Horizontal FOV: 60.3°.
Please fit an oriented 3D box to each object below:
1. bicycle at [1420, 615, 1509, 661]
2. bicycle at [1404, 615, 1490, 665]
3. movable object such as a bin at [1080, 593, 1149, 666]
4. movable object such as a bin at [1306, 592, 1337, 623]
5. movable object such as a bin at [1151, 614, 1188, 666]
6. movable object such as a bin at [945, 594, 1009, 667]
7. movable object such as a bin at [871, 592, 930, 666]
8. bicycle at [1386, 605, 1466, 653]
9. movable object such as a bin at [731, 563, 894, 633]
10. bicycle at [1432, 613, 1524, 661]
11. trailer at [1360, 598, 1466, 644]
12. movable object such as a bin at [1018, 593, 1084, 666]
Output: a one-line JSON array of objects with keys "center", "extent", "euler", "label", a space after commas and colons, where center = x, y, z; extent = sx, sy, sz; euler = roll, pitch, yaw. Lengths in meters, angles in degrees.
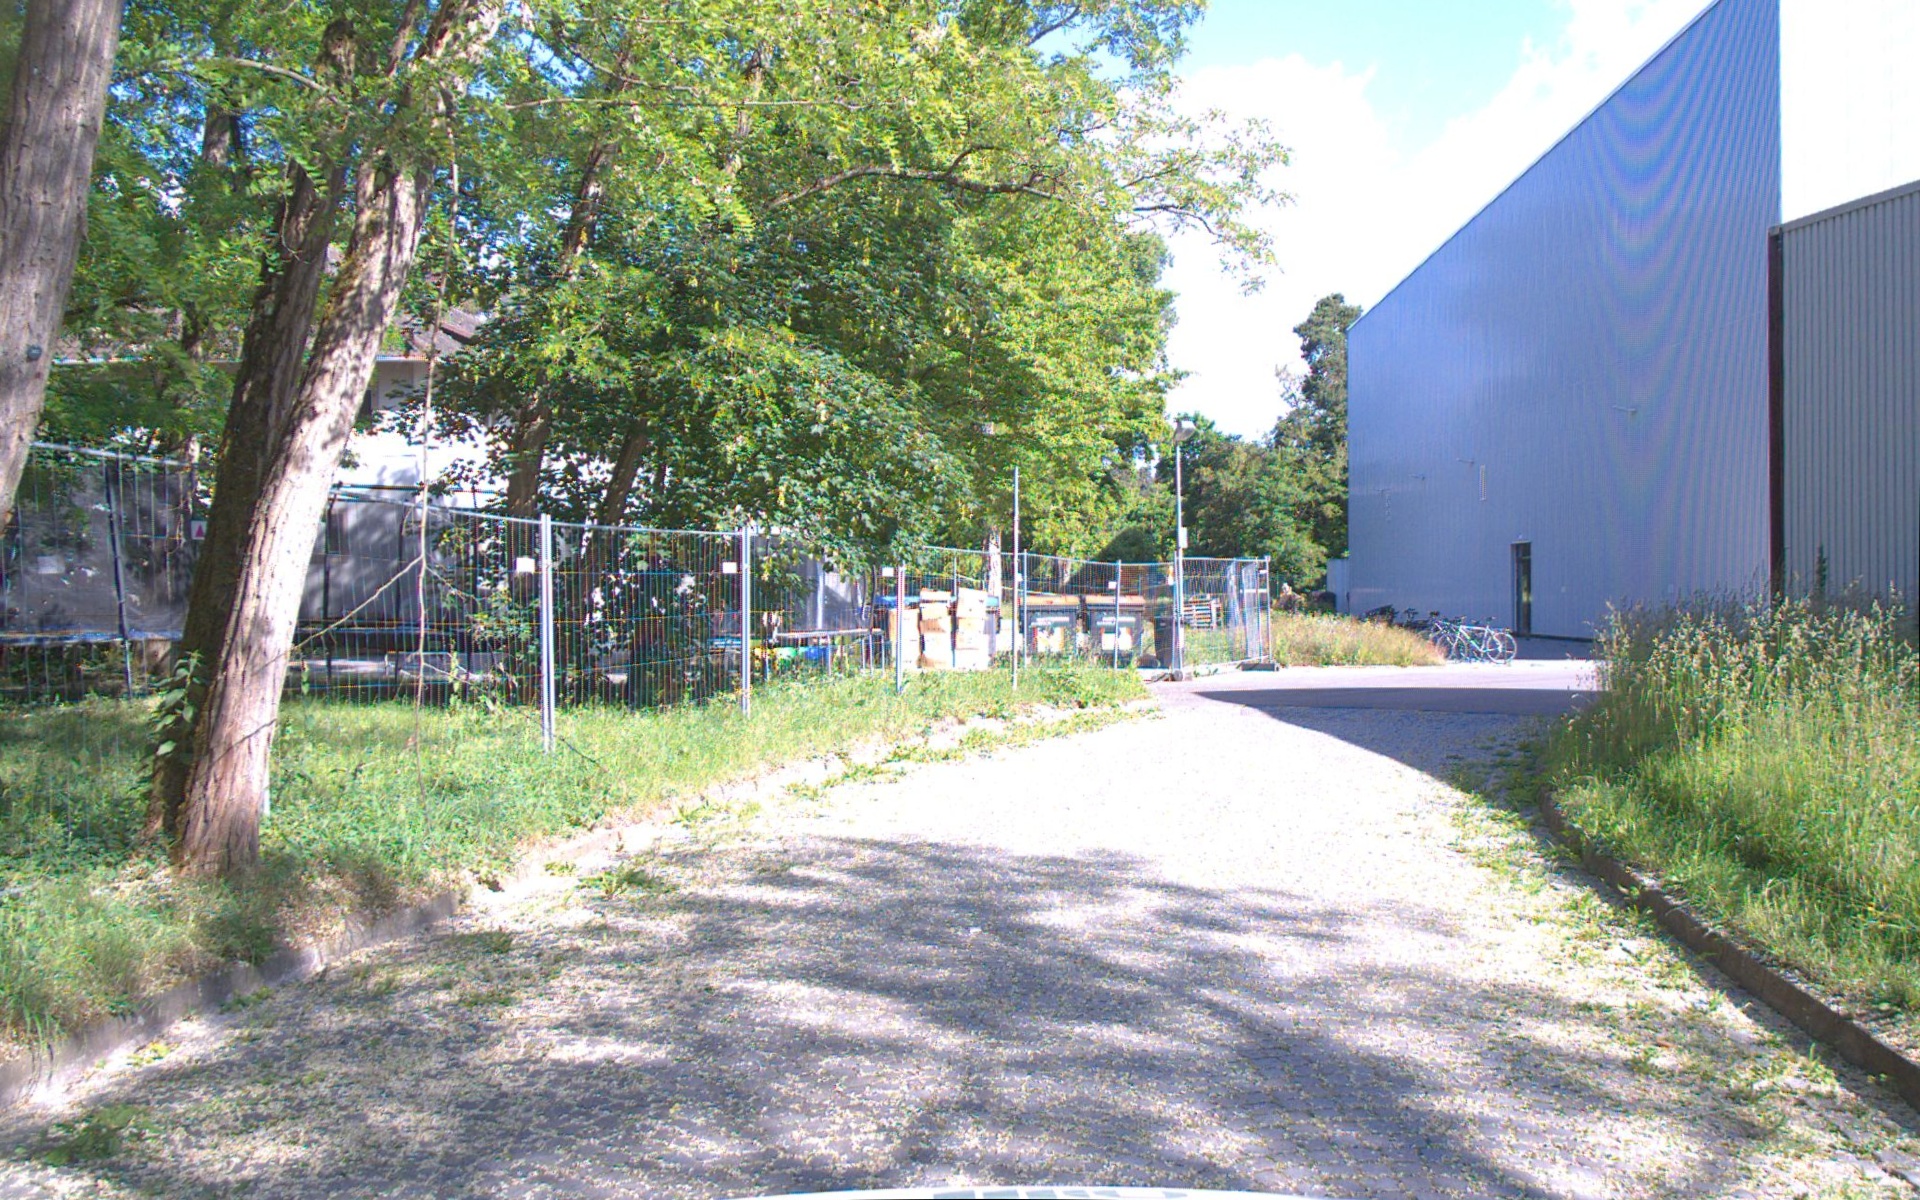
[{"center": [11.274, 0.843, 36.979], "extent": [1.844, 0.995, 0.433], "euler": [-1, 0, 2], "label": "bicycle"}, {"center": [11.234, 0.922, 38.178], "extent": [1.844, 1.101, 0.433], "euler": [-1, 0, 2], "label": "bicycle"}, {"center": [3.119, 0.588, 33.515], "extent": [1.261, 1.451, 1.032], "euler": [-1, 0, -1], "label": "movable object such as a bin"}, {"center": [20.018, 0.392, 91.645], "extent": [1.334, 1.685, 2.844], "euler": [-1, 0, 5], "label": "movable object such as a bin"}, {"center": [4.207, 0.791, 33.174], "extent": [0.628, 1.025, 0.605], "euler": [-1, 0, 18], "label": "movable object such as a bin"}, {"center": [0.340, 0.611, 33.559], "extent": [1.261, 1.451, 1.032], "euler": [-1, 0, 0], "label": "movable object such as a bin"}, {"center": [-1.196, 0.587, 33.691], "extent": [1.061, 1.463, 1.056], "euler": [-1, 0, 4], "label": "movable object such as a bin"}, {"center": [11.488, 0.715, 40.825], "extent": [1.844, 1.145, 0.433], "euler": [-1, 0, 2], "label": "bicycle"}, {"center": [-4.442, -0.063, 50.408], "extent": [4.771, 2.005, 1.933], "euler": [-1, 0, 0], "label": "movable object such as a bin"}, {"center": [11.206, 0.804, 35.779], "extent": [1.844, 0.995, 0.433], "euler": [-1, 0, 2], "label": "bicycle"}, {"center": [12.725, 0.585, 46.582], "extent": [2.654, 1.221, 1.246], "euler": [-1, 0, 2], "label": "trailer"}, {"center": [1.829, 0.589, 33.500], "extent": [1.261, 1.451, 1.032], "euler": [-1, 0, 0], "label": "movable object such as a bin"}]
